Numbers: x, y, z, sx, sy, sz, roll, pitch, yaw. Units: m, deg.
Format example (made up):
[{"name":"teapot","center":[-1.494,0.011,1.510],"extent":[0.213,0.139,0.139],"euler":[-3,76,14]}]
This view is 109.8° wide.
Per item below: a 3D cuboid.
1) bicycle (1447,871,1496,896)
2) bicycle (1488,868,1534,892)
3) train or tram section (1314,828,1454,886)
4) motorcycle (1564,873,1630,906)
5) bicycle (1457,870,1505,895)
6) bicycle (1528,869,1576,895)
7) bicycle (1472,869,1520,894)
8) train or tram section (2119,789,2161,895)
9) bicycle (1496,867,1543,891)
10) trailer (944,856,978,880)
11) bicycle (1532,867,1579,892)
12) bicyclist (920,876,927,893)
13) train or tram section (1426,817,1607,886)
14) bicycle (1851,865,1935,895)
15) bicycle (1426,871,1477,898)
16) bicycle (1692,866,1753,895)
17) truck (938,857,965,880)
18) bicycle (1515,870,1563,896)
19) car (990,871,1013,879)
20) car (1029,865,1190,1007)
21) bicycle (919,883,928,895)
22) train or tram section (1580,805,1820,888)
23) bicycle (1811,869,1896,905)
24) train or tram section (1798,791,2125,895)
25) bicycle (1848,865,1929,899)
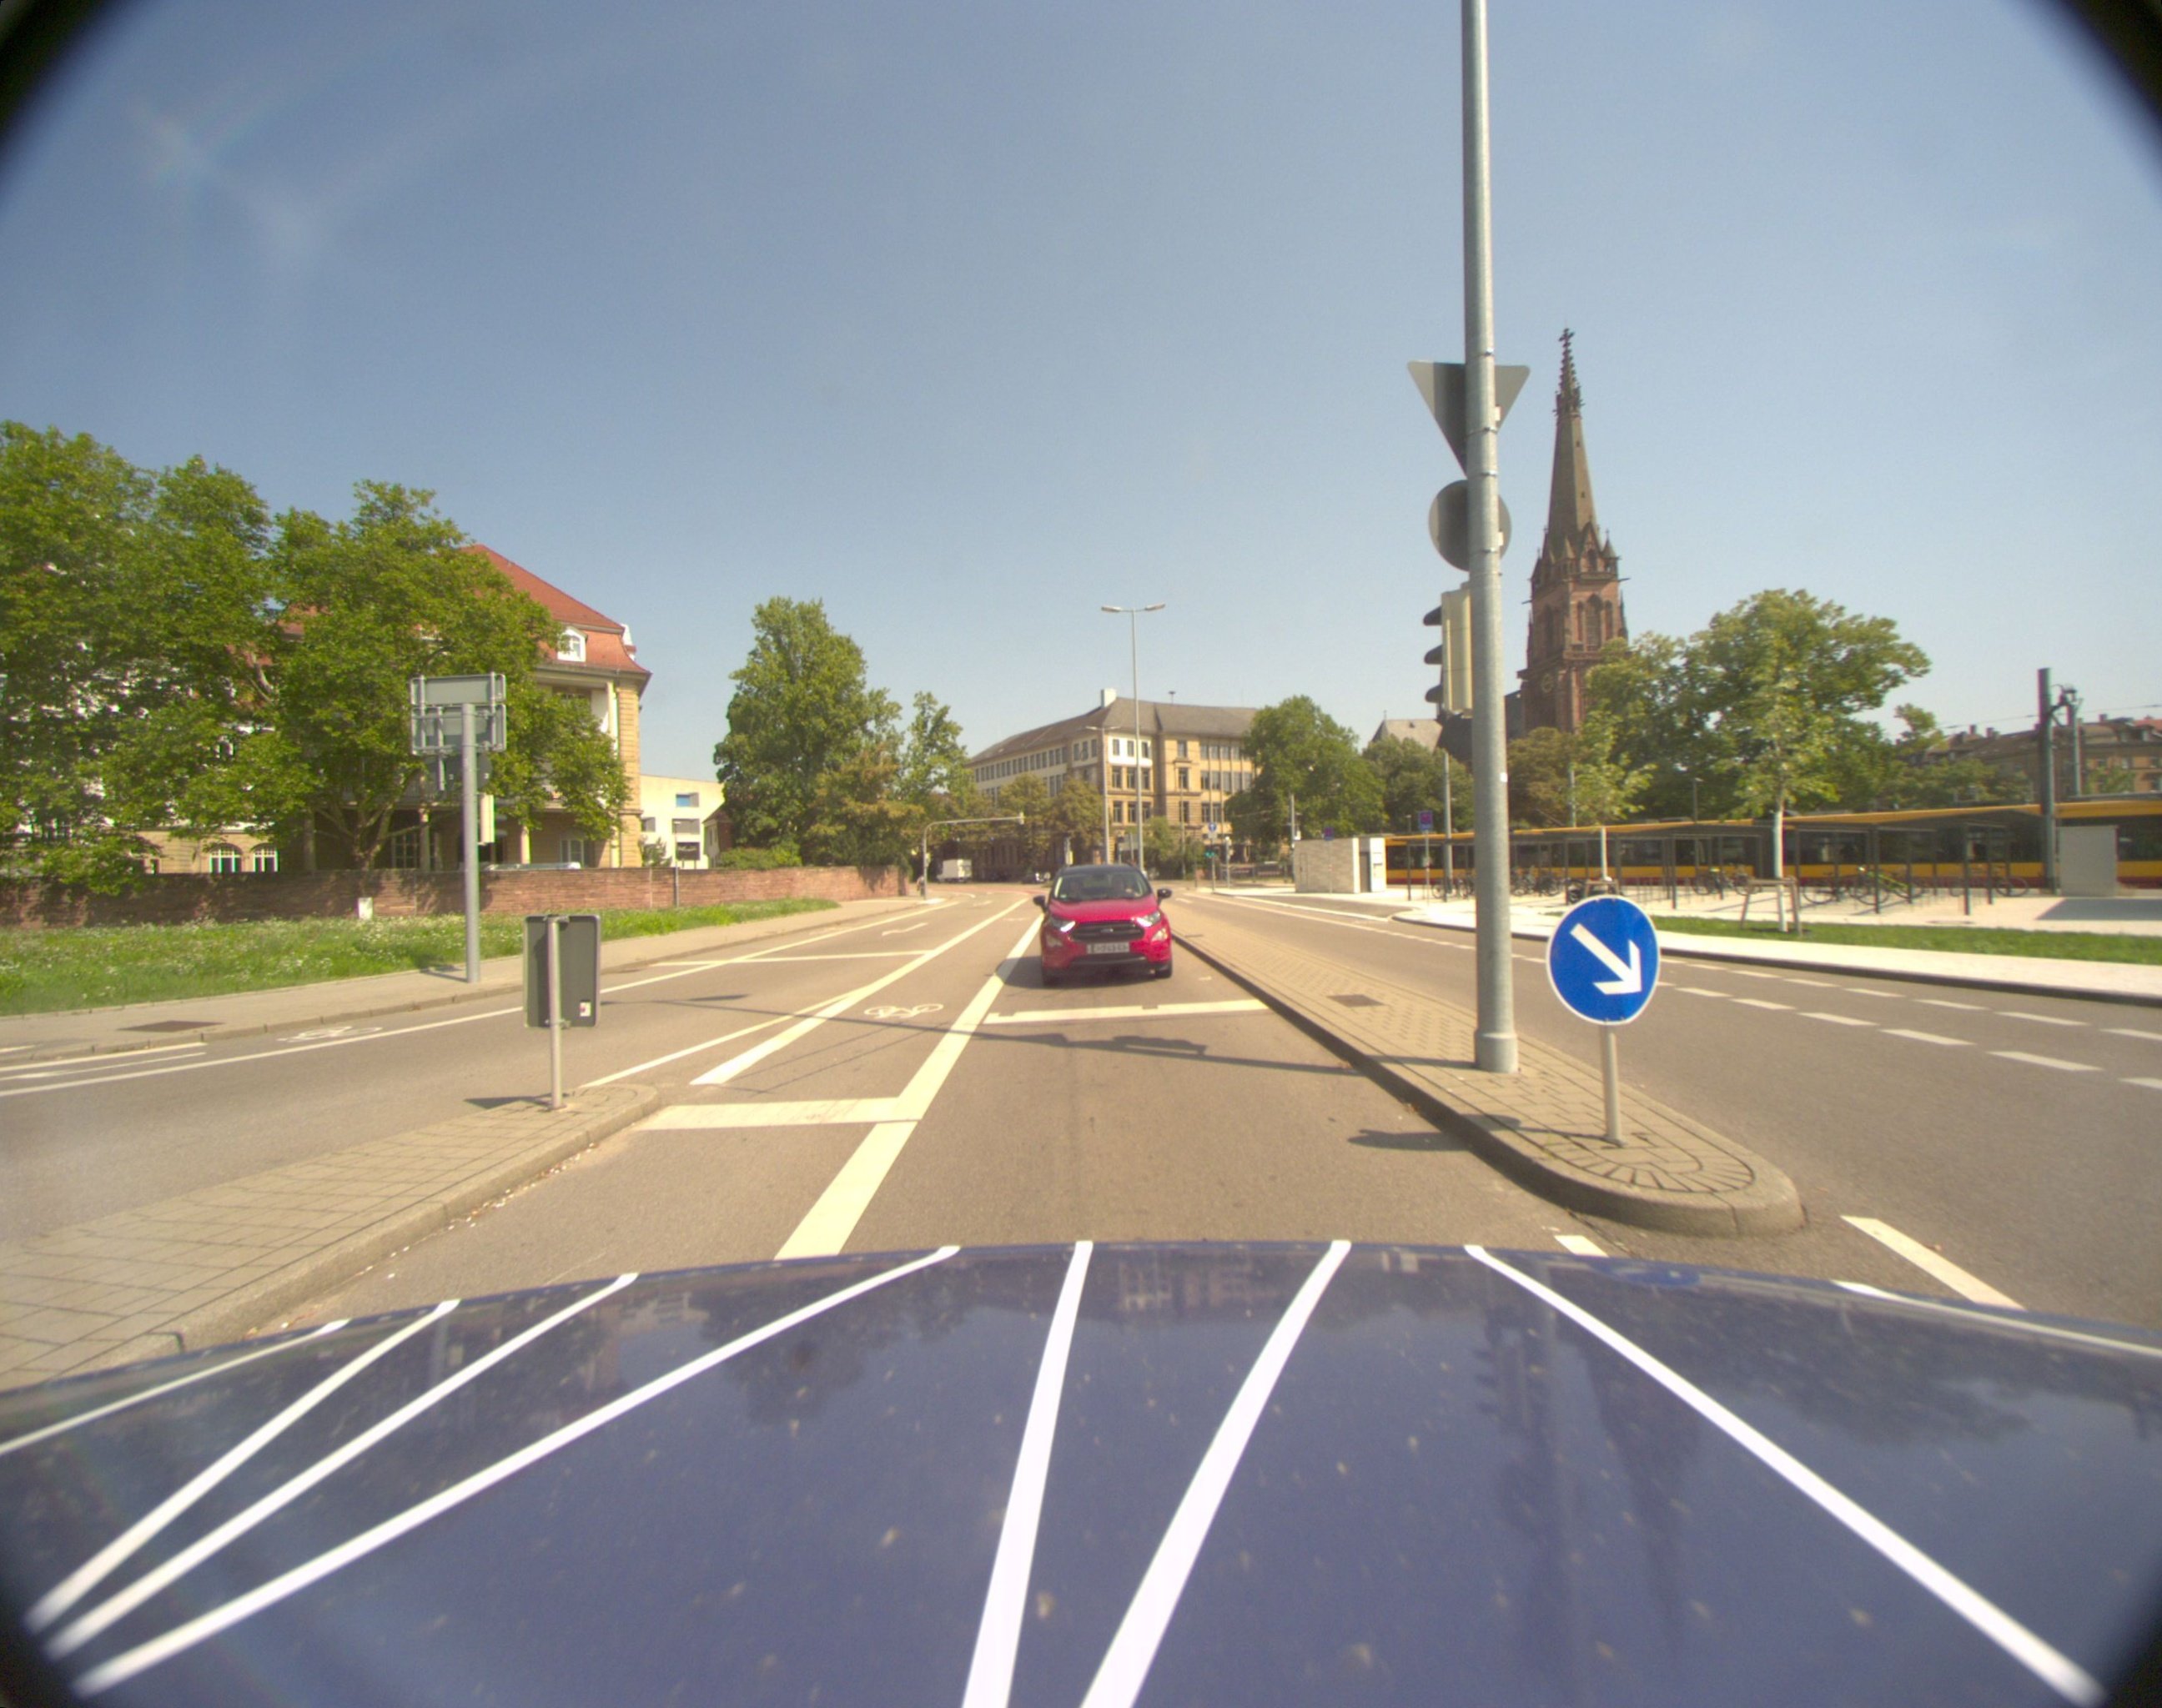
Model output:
[{"name":"bicycle","center":[16.373,1.238,31.896],"extent":[0.528,1.034,1.766],"euler":[-1,-1,-33]},{"name":"bicycle","center":[19.376,1.168,34.258],"extent":[0.528,1.034,1.766],"euler":[-1,-1,-33]},{"name":"train or tram section","center":[20.093,0.340,50.987],"extent":[3.144,3.538,8.309],"euler":[0,-2,-36]},{"name":"motorcycle","center":[17.568,1.200,25.906],"extent":[0.492,1.062,1.775],"euler":[-1,-1,-33]},{"name":"bicycle","center":[16.973,1.203,32.268],"extent":[0.528,1.034,1.766],"euler":[-1,-1,-33]},{"name":"bicycle","center":[19.455,1.164,31.390],"extent":[0.413,1.034,1.637],"euler":[-1,-1,-33]},{"name":"bicycle","center":[18.205,1.198,33.371],"extent":[0.528,1.034,1.766],"euler":[-1,-1,-33]},{"name":"train or tram section","center":[39.577,-0.536,23.811],"extent":[3.151,3.547,8.225],"euler":[0,-2,-36]},{"name":"bicycle","center":[20.155,1.149,34.951],"extent":[0.528,1.034,1.766],"euler":[-1,-1,-33]},{"name":"trailer","center":[-16.710,1.974,105.367],"extent":[2.446,3.268,5.076],"euler":[-1,0,-38]},{"name":"bicycle","center":[20.330,1.107,32.575],"extent":[0.413,1.034,1.637],"euler":[-1,-1,-33]},{"name":"bicyclist","center":[-11.948,2.310,57.751],"extent":[0.433,1.225,0.540],"euler":[-1,0,-3]},{"name":"train or tram section","center":[24.988,-0.008,44.160],"extent":[3.168,3.575,8.506],"euler":[0,-2,-36]},{"name":"bicycle","center":[27.139,0.871,25.420],"extent":[0.514,0.979,1.852],"euler":[-1,-1,-37]},{"name":"bicycle","center":[15.268,1.251,31.348],"extent":[0.528,1.075,1.861],"euler":[-1,-1,-33]},{"name":"bicycle","center":[23.641,0.985,28.018],"extent":[0.413,1.034,1.637],"euler":[-1,-1,-33]},{"name":"truck","center":[-18.327,2.045,107.479],"extent":[2.434,3.268,3.418],"euler":[-1,0,-38]},{"name":"bicycle","center":[18.565,1.179,30.852],"extent":[0.413,1.034,1.637],"euler":[-1,-1,-33]},{"name":"car","center":[-11.461,3.041,109.904],"extent":[3.064,1.169,1.248],"euler":[-1,-1,-40]},{"name":"car","center":[0.316,1.010,11.031],"extent":[1.844,1.605,4.000],"euler":[-3,-1,-1]},{"name":"bicycle","center":[-11.936,2.654,57.720],"extent":[0.437,0.807,1.486],"euler":[-1,0,-3]},{"name":"train or tram section","center":[29.928,-0.176,37.250],"extent":[3.168,3.575,8.506],"euler":[0,-2,-36]},{"name":"bicycle","center":[22.912,0.971,22.569],"extent":[0.514,1.034,1.730],"euler":[-1,-1,-42]},{"name":"train or tram section","center":[34.787,-0.210,30.467],"extent":[3.168,3.575,8.226],"euler":[0,-2,-36]},{"name":"bicycle","center":[25.874,0.902,24.393],"extent":[1.730,1.034,0.514],"euler":[-2,-1,42]}]
